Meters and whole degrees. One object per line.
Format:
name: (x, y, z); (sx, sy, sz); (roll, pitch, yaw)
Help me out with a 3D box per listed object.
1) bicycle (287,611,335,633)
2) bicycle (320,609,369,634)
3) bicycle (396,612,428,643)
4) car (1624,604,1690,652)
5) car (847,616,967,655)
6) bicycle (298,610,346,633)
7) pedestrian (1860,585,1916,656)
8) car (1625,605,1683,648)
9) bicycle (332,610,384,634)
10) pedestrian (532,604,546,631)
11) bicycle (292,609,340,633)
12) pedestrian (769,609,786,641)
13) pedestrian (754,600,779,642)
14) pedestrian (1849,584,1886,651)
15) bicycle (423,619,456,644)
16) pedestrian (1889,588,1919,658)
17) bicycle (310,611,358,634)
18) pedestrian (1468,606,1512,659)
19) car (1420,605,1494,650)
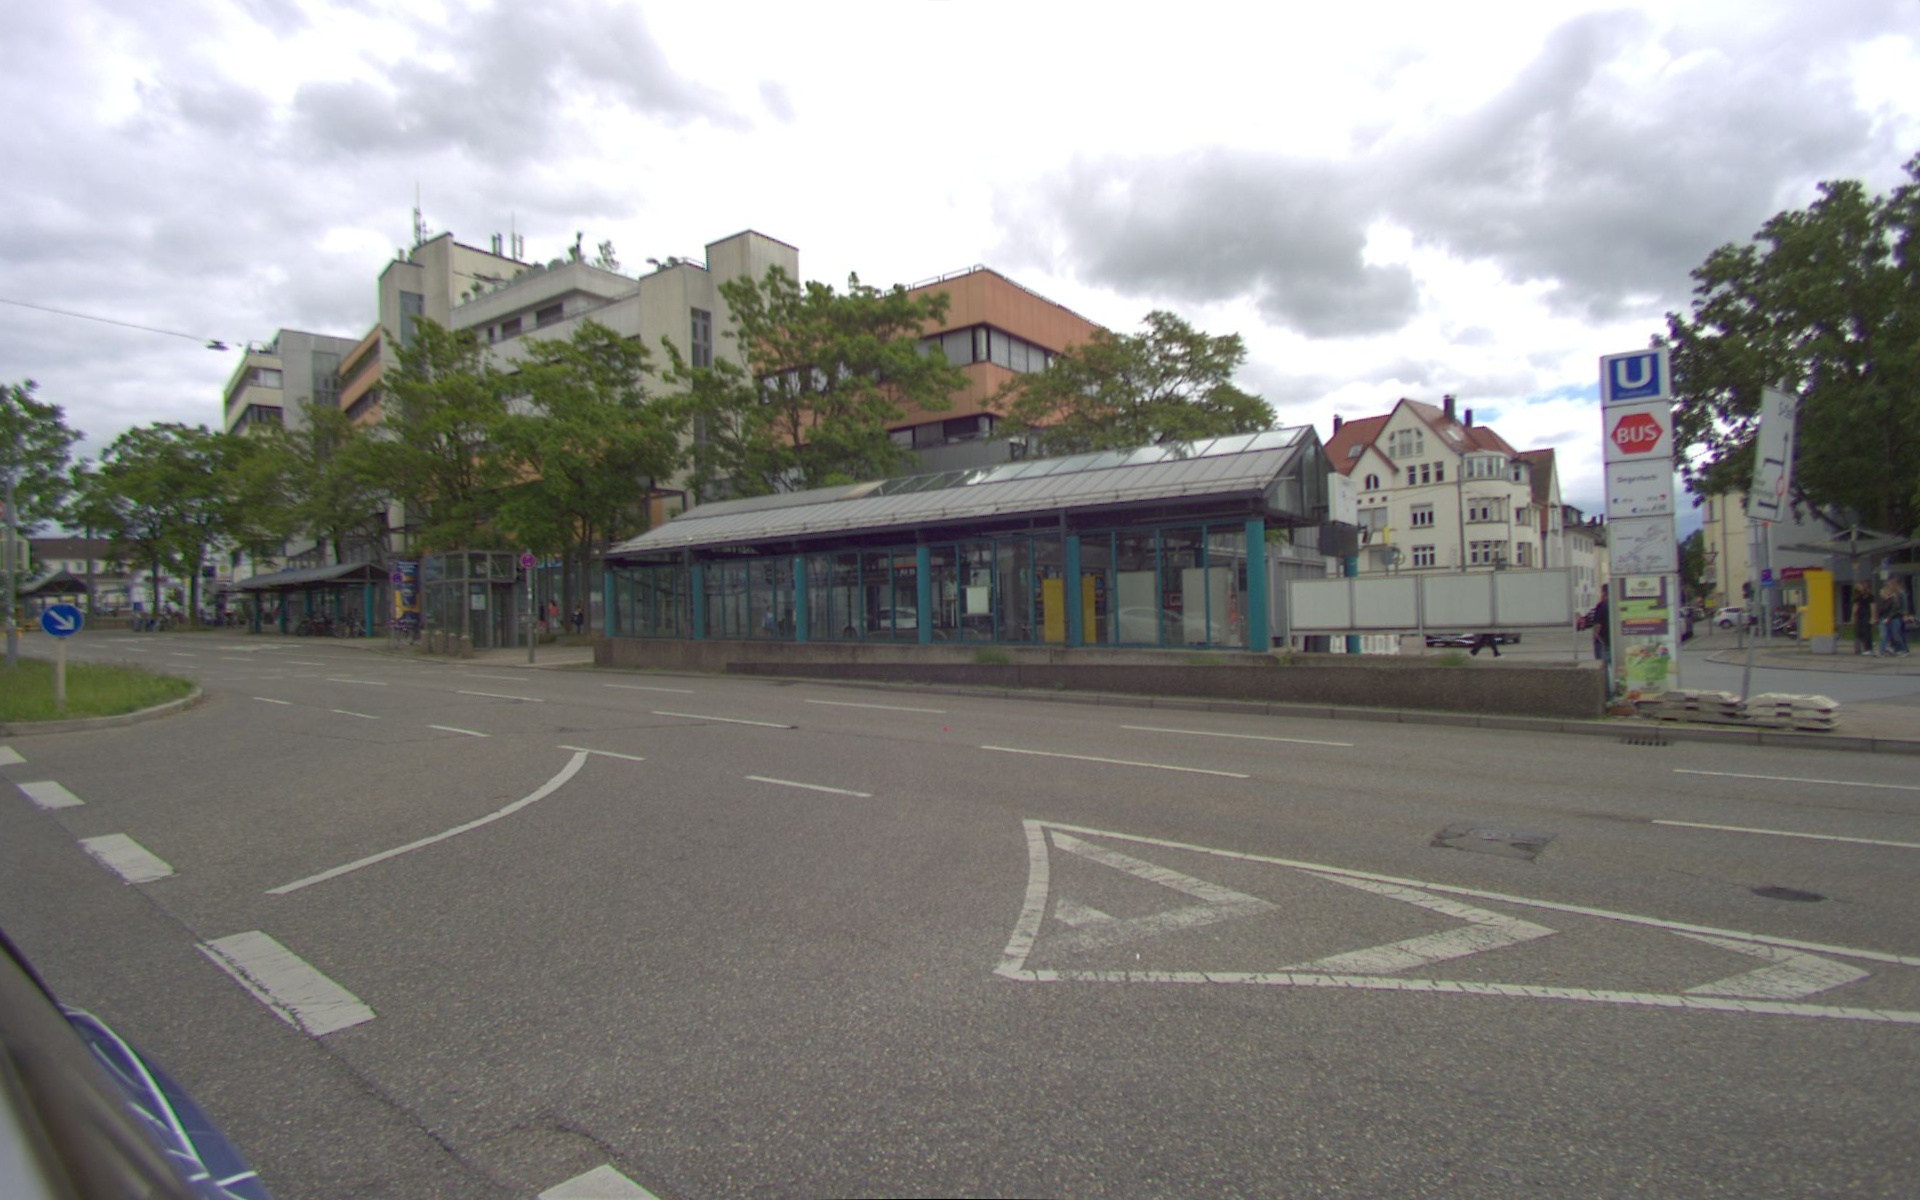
bicycle: (-34.238, 1.137, 53.391); (0.542, 1.098, 2.043); (0, 1, 39)
bicycle: (-30.832, 1.081, 50.741); (0.541, 1.147, 2.047); (0, 1, 34)
bicycle: (-22.599, 1.106, 41.719); (1.948, 1.234, 0.514); (-1, 0, 42)
car: (27.091, 1.054, 39.405); (1.995, 1.696, 3.954); (-1, 1, 34)
car: (-2.076, 1.335, 39.099); (4.714, 1.411, 1.673); (0, -1, 38)
bicycle: (-32.878, 1.116, 52.171); (0.542, 1.098, 2.043); (0, 1, 39)
pedestrian: (20.737, 0.450, 22.613); (0.742, 1.559, 0.531); (-1, 0, -4)
car: (30.210, 1.107, 44.118); (1.995, 1.696, 3.954); (-1, 1, 34)
bicycle: (-29.966, 1.095, 50.388); (0.541, 1.098, 2.181); (0, 1, 34)
pedestrian: (-22.624, 0.917, 54.410); (0.580, 1.443, 0.456); (0, -1, 41)
bicycle: (-33.560, 1.084, 52.775); (0.542, 1.147, 2.043); (0, 1, 39)
pedestrian: (-6.792, 0.927, 37.703); (0.514, 1.201, 0.378); (-1, -1, 42)
pedestrian: (-7.322, 0.791, 38.228); (0.638, 1.558, 0.679); (-1, -1, 39)
pedestrian: (21.149, 0.405, 23.584); (0.378, 1.559, 0.485); (-1, 0, -5)
bicycle: (-22.043, 1.322, 42.841); (2.050, 1.034, 0.514); (-1, 0, 42)
pedestrian: (21.504, 0.513, 22.962); (0.378, 1.559, 0.485); (-1, 0, -5)
bicycle: (-31.784, 1.130, 51.416); (0.541, 1.098, 2.047); (0, 1, 34)
pedestrian: (15.016, 0.922, 28.695); (0.991, 1.472, 0.584); (-1, -1, 40)
car: (19.404, 1.031, 39.433); (1.996, 1.608, 3.952); (-1, 0, 35)
